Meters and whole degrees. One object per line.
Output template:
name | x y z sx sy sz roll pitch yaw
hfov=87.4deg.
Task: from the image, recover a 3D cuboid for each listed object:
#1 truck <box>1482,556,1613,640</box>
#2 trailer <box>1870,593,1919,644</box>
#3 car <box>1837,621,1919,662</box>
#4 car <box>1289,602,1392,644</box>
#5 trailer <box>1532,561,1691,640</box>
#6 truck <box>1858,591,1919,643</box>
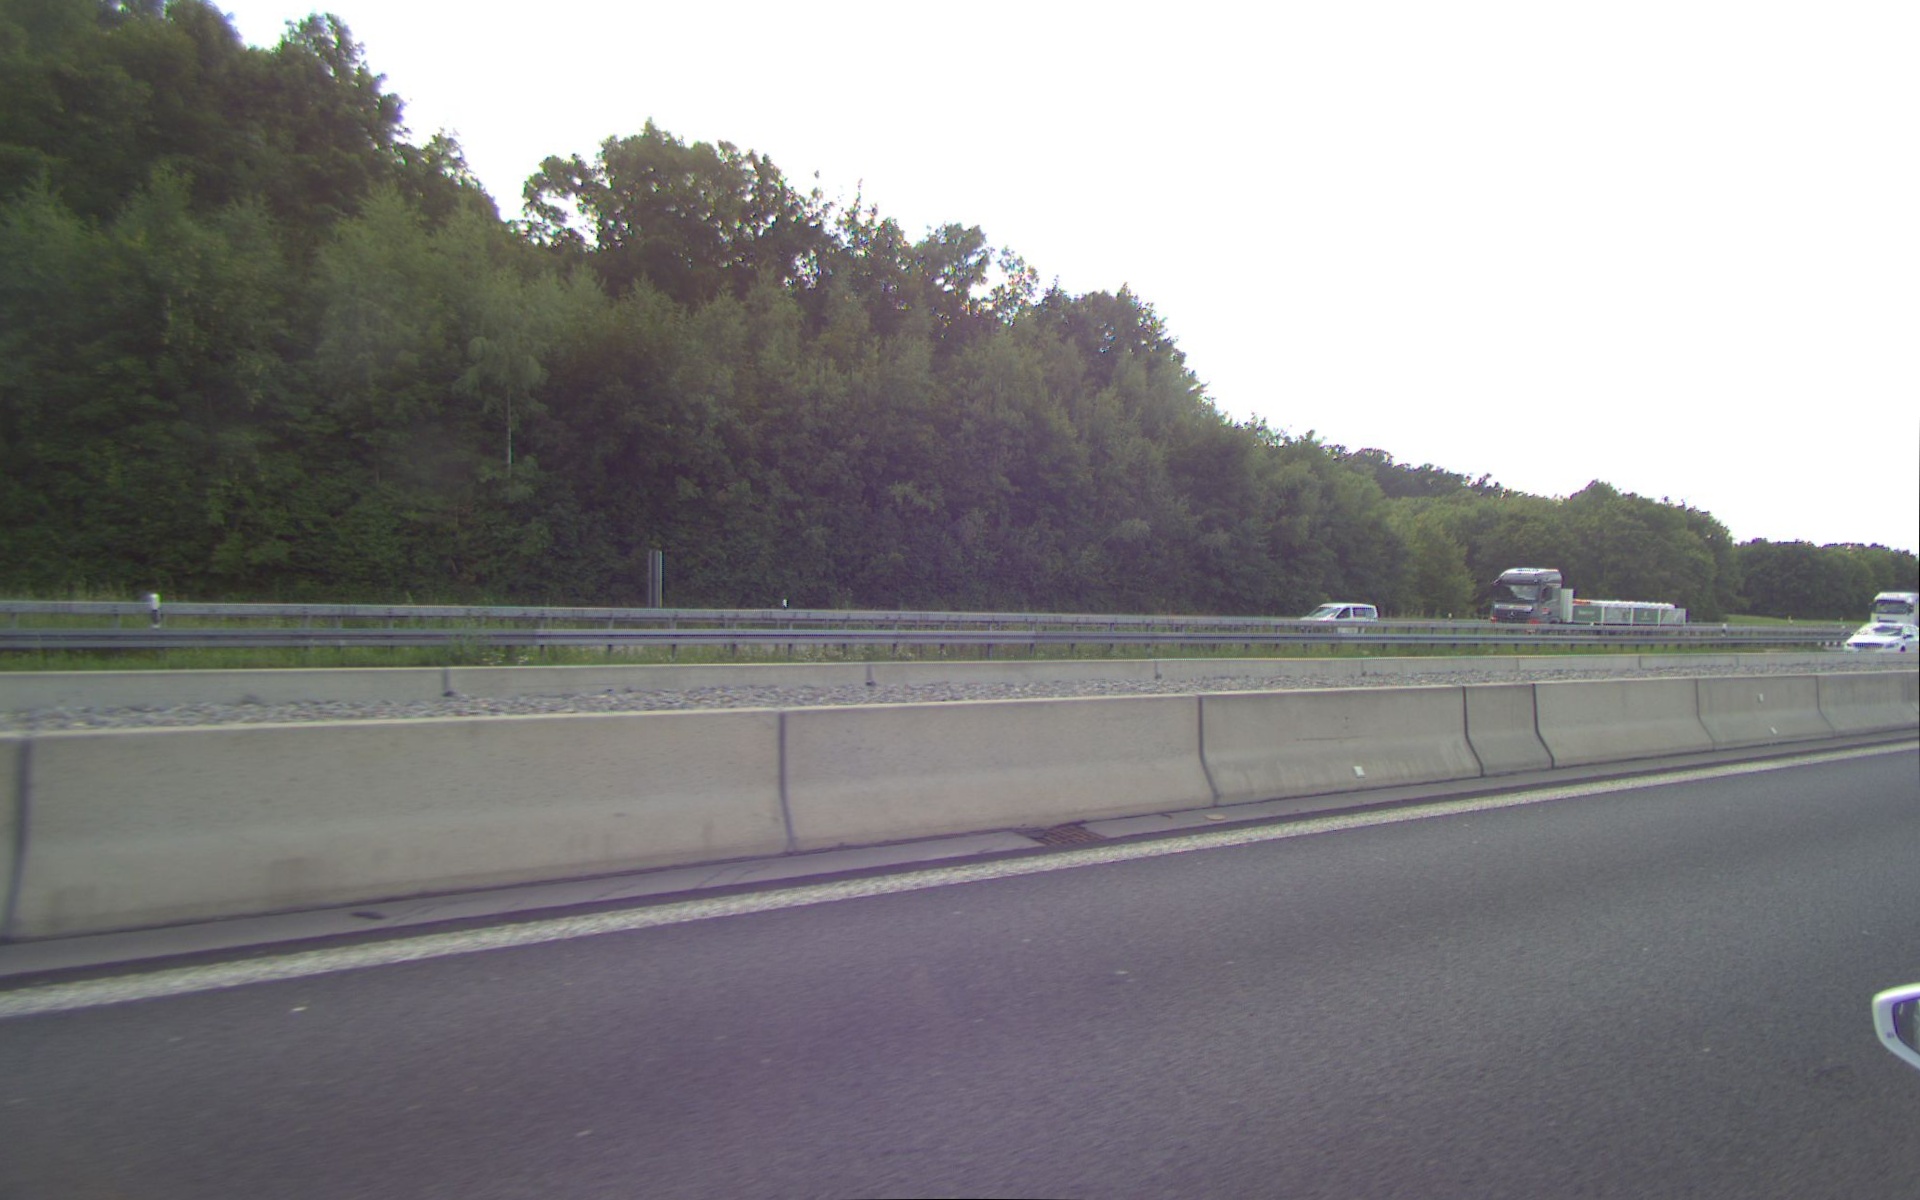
truck | 28.919 -0.046 49.371 7.057 3.878 2.791 1 0 -35
trailer | 88.760 1.827 93.626 12.022 4.349 3.299 3 -1 -36
car | 38.397 1.726 41.664 4.714 1.548 1.703 3 -1 -32
car | 19.066 1.136 50.270 5.199 1.879 1.984 3 -1 -30
trailer | 34.975 0.127 53.667 12.066 3.857 2.794 2 0 -35
truck | 83.405 1.536 89.734 6.684 4.349 3.297 3 -1 -36
